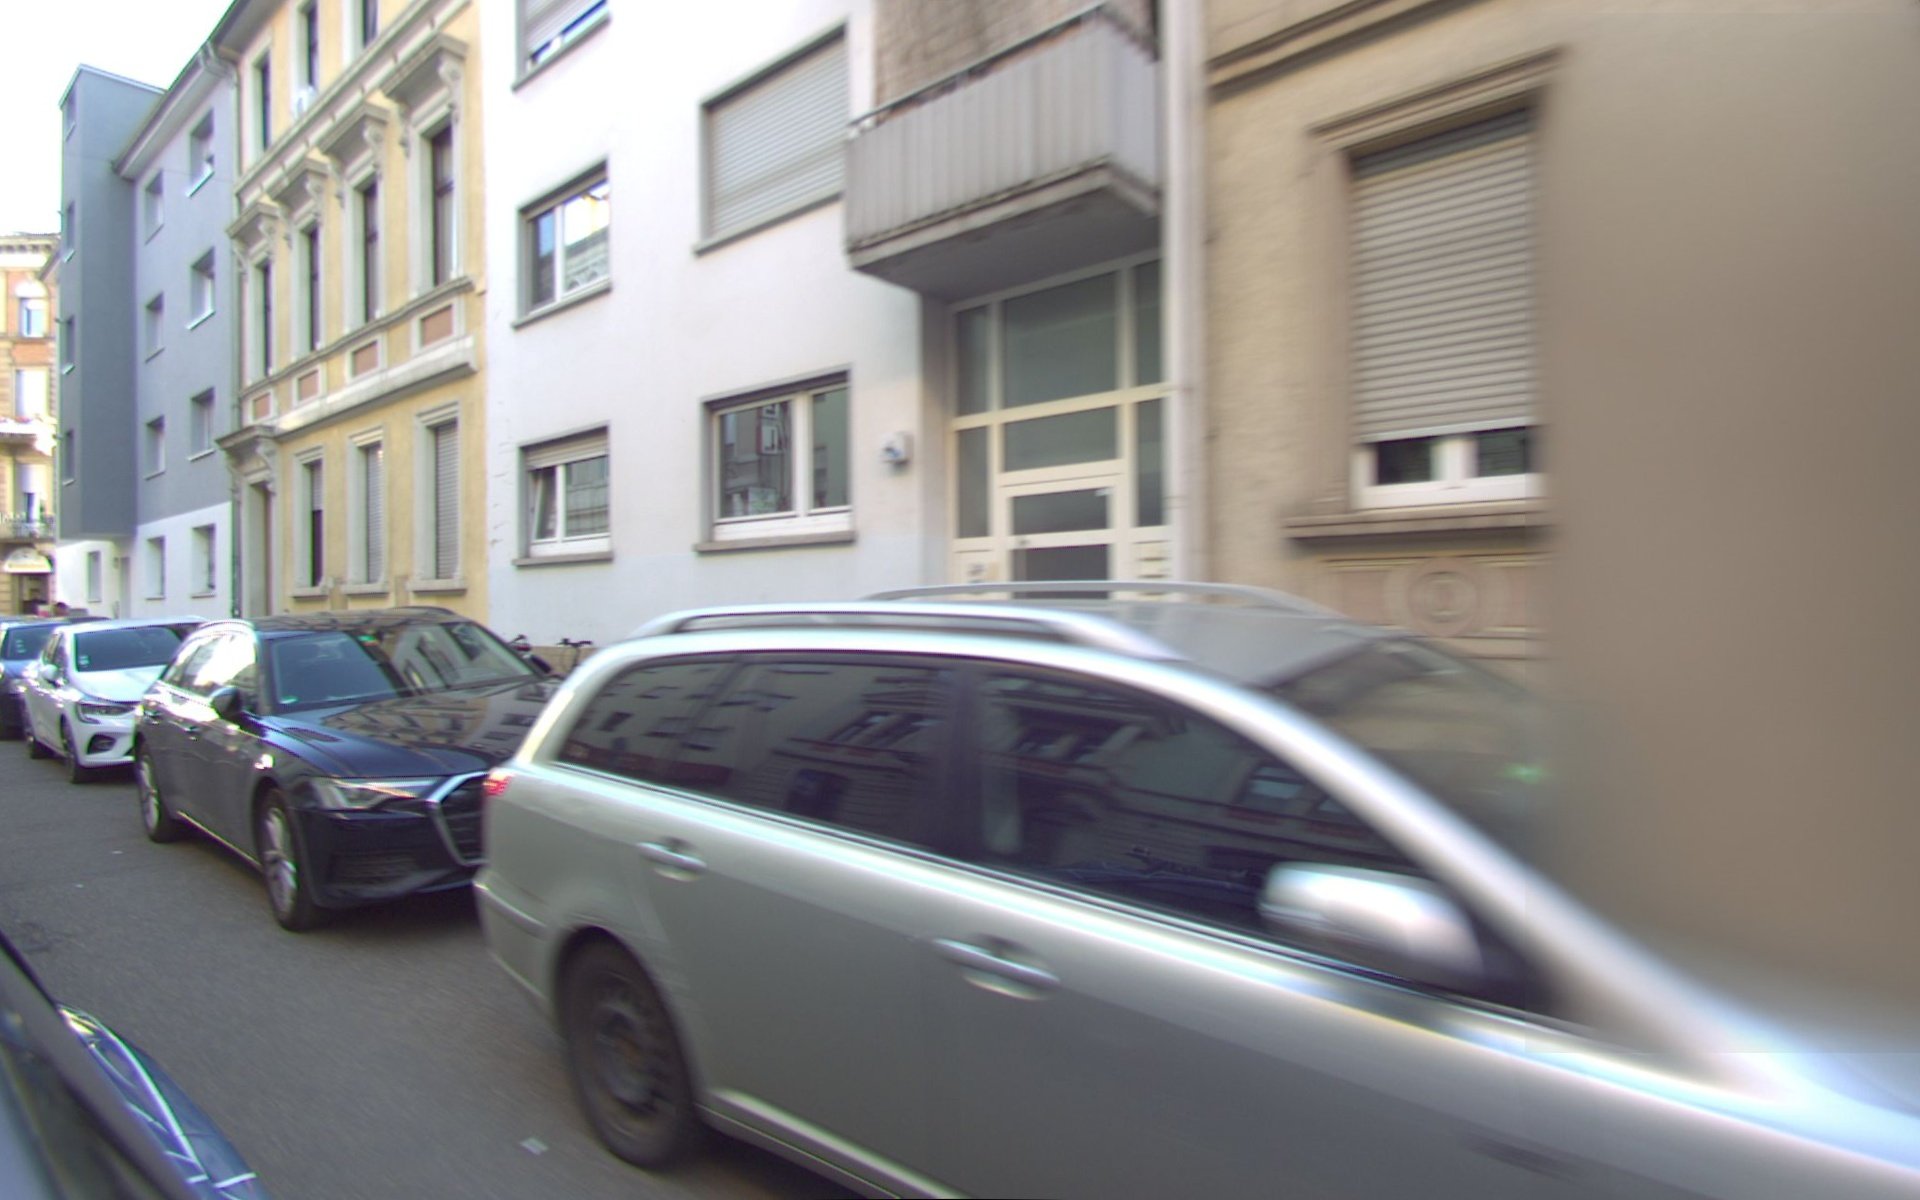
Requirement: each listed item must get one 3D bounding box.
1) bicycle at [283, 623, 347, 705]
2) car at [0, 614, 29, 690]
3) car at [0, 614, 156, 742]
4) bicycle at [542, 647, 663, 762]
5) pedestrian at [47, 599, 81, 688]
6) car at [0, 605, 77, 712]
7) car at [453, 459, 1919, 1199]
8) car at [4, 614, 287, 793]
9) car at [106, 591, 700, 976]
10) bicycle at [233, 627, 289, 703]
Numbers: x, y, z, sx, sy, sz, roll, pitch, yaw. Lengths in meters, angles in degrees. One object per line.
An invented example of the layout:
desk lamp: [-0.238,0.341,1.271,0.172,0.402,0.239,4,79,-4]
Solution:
bicycle: [-9.228,0.888,14.457,1.543,1.123,0.377,-1,-1,42]
car: [-21.758,1.121,22.057,3.779,1.592,1.622,-1,-1,39]
car: [-12.321,0.955,13.746,3.954,1.500,1.620,-1,-1,43]
bicycle: [-3.478,0.977,9.793,1.541,1.016,0.289,-1,-1,36]
pedestrian: [-18.043,0.861,20.378,0.454,1.769,0.450,-1,-1,39]
car: [-16.919,0.982,17.677,3.779,1.724,1.622,-1,-1,39]
car: [0.691,0.653,2.424,4.429,1.551,1.773,-1,-1,39]
car: [-8.464,0.913,10.408,3.786,1.500,1.621,-1,-1,41]
car: [-3.668,0.779,6.238,4.491,1.551,1.772,-1,-1,41]
bicycle: [-10.993,0.997,15.898,1.543,1.123,0.377,-1,-1,42]
